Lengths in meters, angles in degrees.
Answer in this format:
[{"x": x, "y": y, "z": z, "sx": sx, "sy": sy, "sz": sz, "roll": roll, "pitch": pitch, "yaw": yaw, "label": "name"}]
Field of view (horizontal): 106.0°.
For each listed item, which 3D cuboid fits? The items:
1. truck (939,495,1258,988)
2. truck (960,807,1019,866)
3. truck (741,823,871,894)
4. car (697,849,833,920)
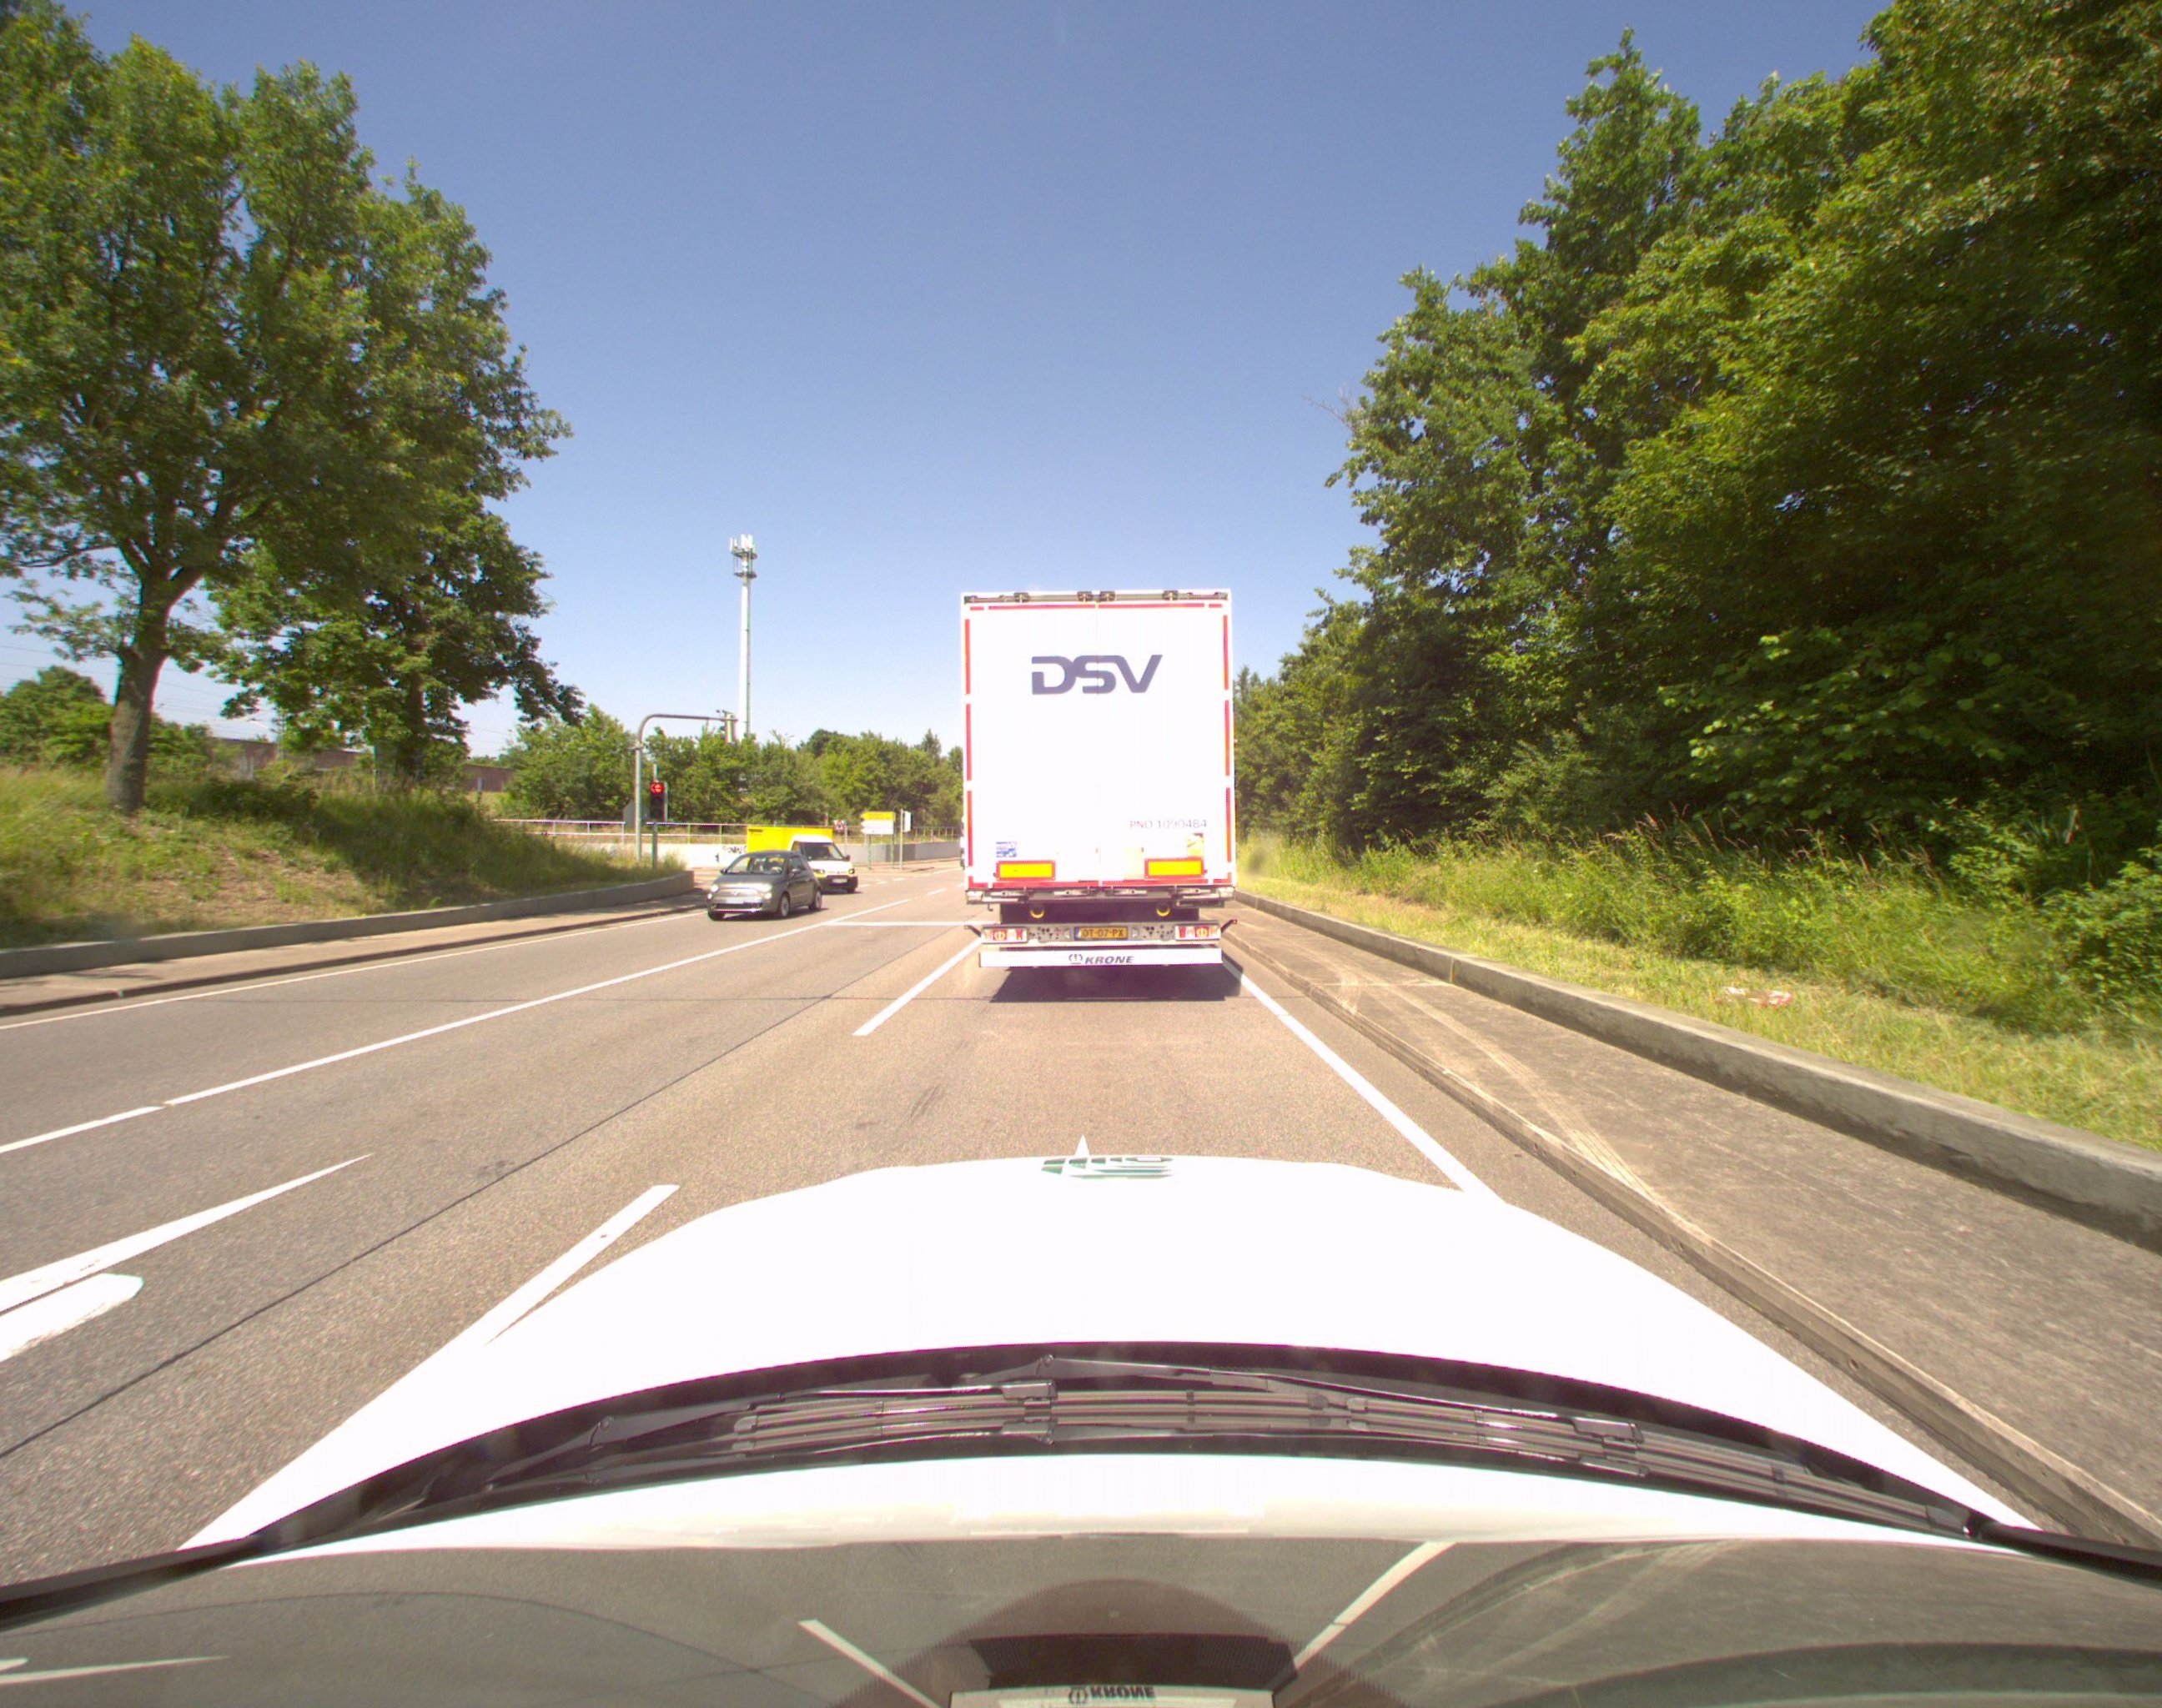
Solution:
[{"x": 0.332, "y": -1.094, "z": 12.528, "sx": 2.938, "sy": 4.568, "sz": 9.867, "roll": 0, "pitch": 1, "yaw": 2, "label": "truck"}, {"x": -6.280, "y": -1.229, "z": 57.831, "sx": 2.344, "sy": 3.749, "sz": 12.631, "roll": -1, "pitch": 1, "yaw": 2, "label": "truck"}, {"x": -9.848, "y": 0.105, "z": 28.835, "sx": 1.996, "sy": 2.274, "sz": 5.951, "roll": -1, "pitch": 1, "yaw": -44, "label": "truck"}, {"x": -7.159, "y": 0.627, "z": 18.822, "sx": 1.580, "sy": 1.469, "sz": 3.603, "roll": 0, "pitch": 1, "yaw": 3, "label": "car"}]
